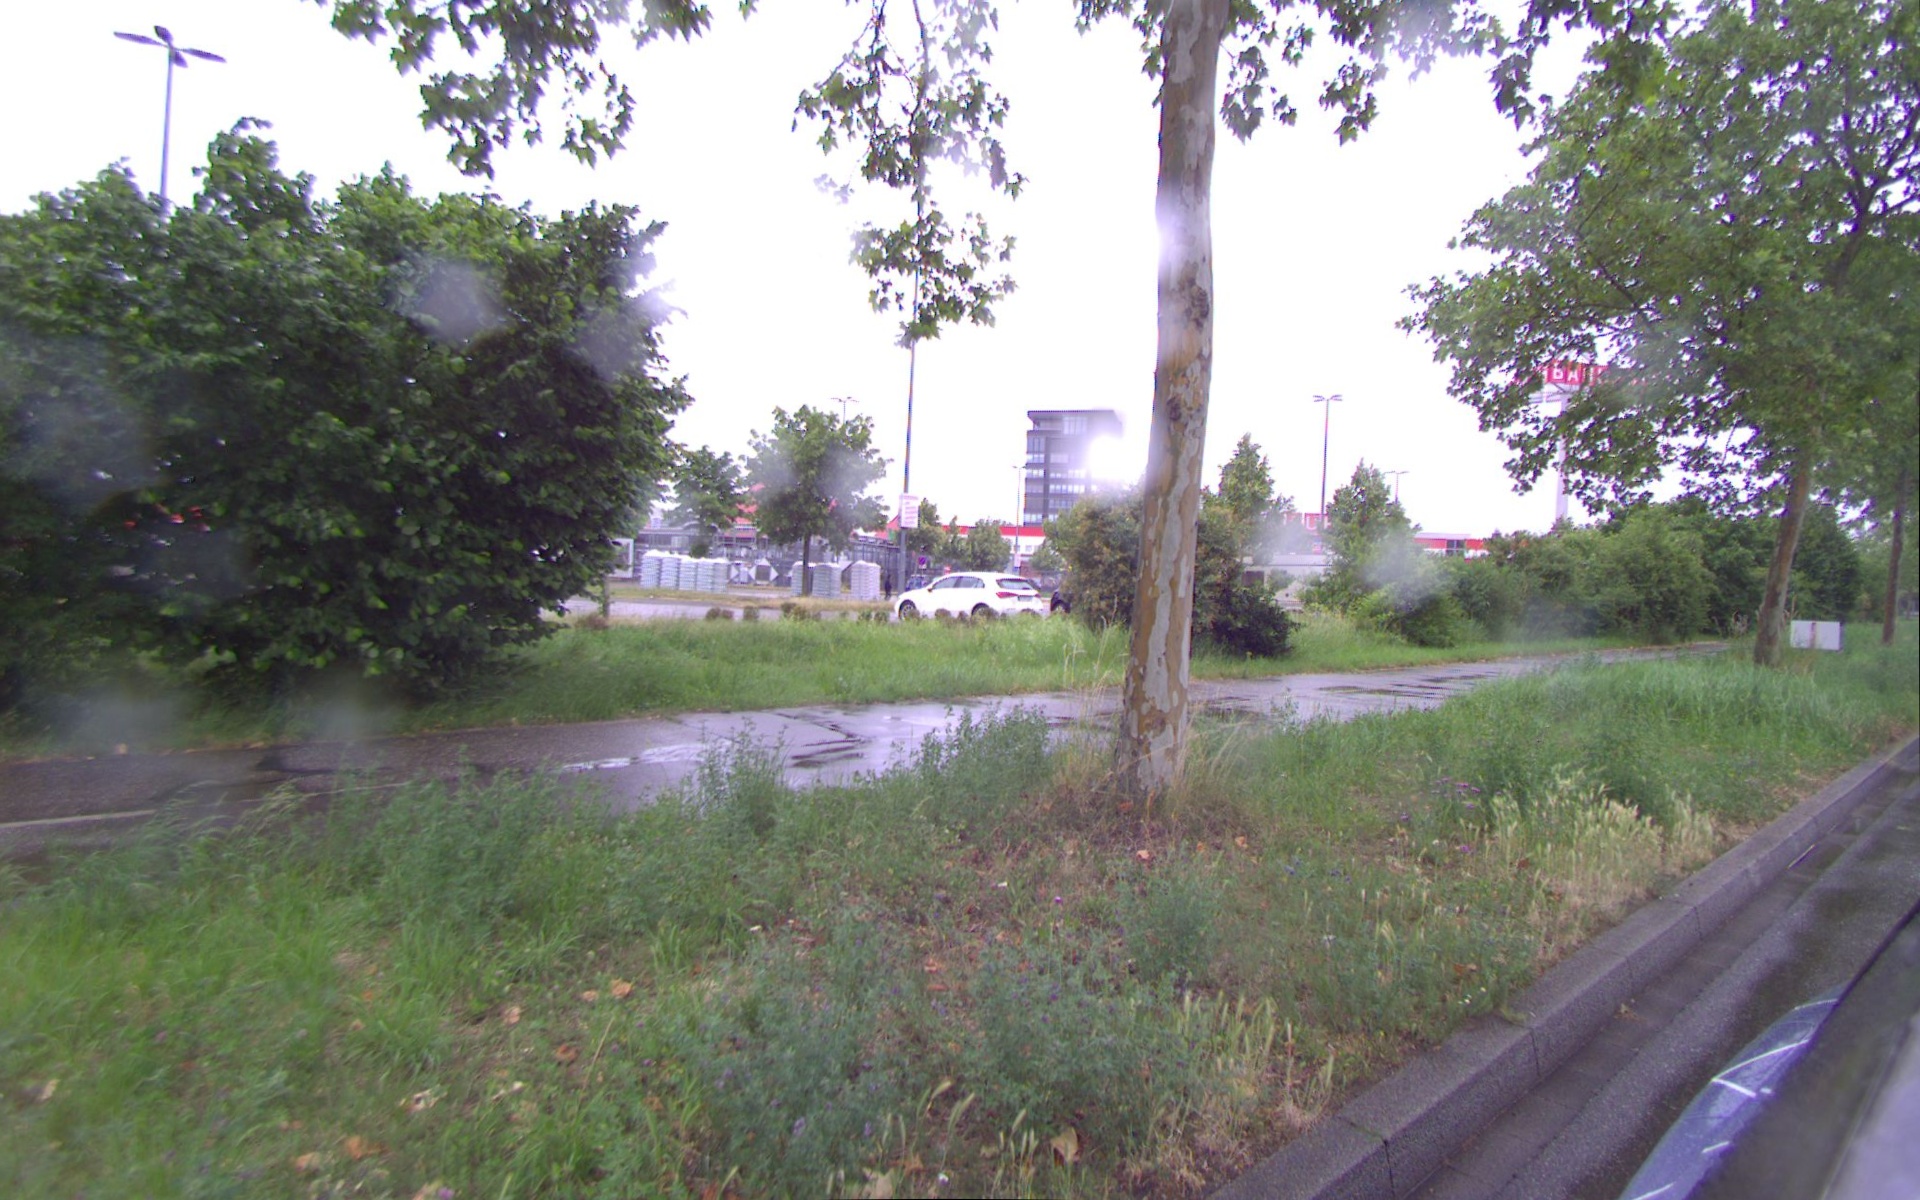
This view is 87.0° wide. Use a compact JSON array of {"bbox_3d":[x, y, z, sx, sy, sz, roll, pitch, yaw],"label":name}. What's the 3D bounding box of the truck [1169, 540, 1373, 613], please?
[{"bbox_3d":[10.696,-0.805,35.304,6.530,2.333,2.186,1,1,43],"label":"truck"}]
